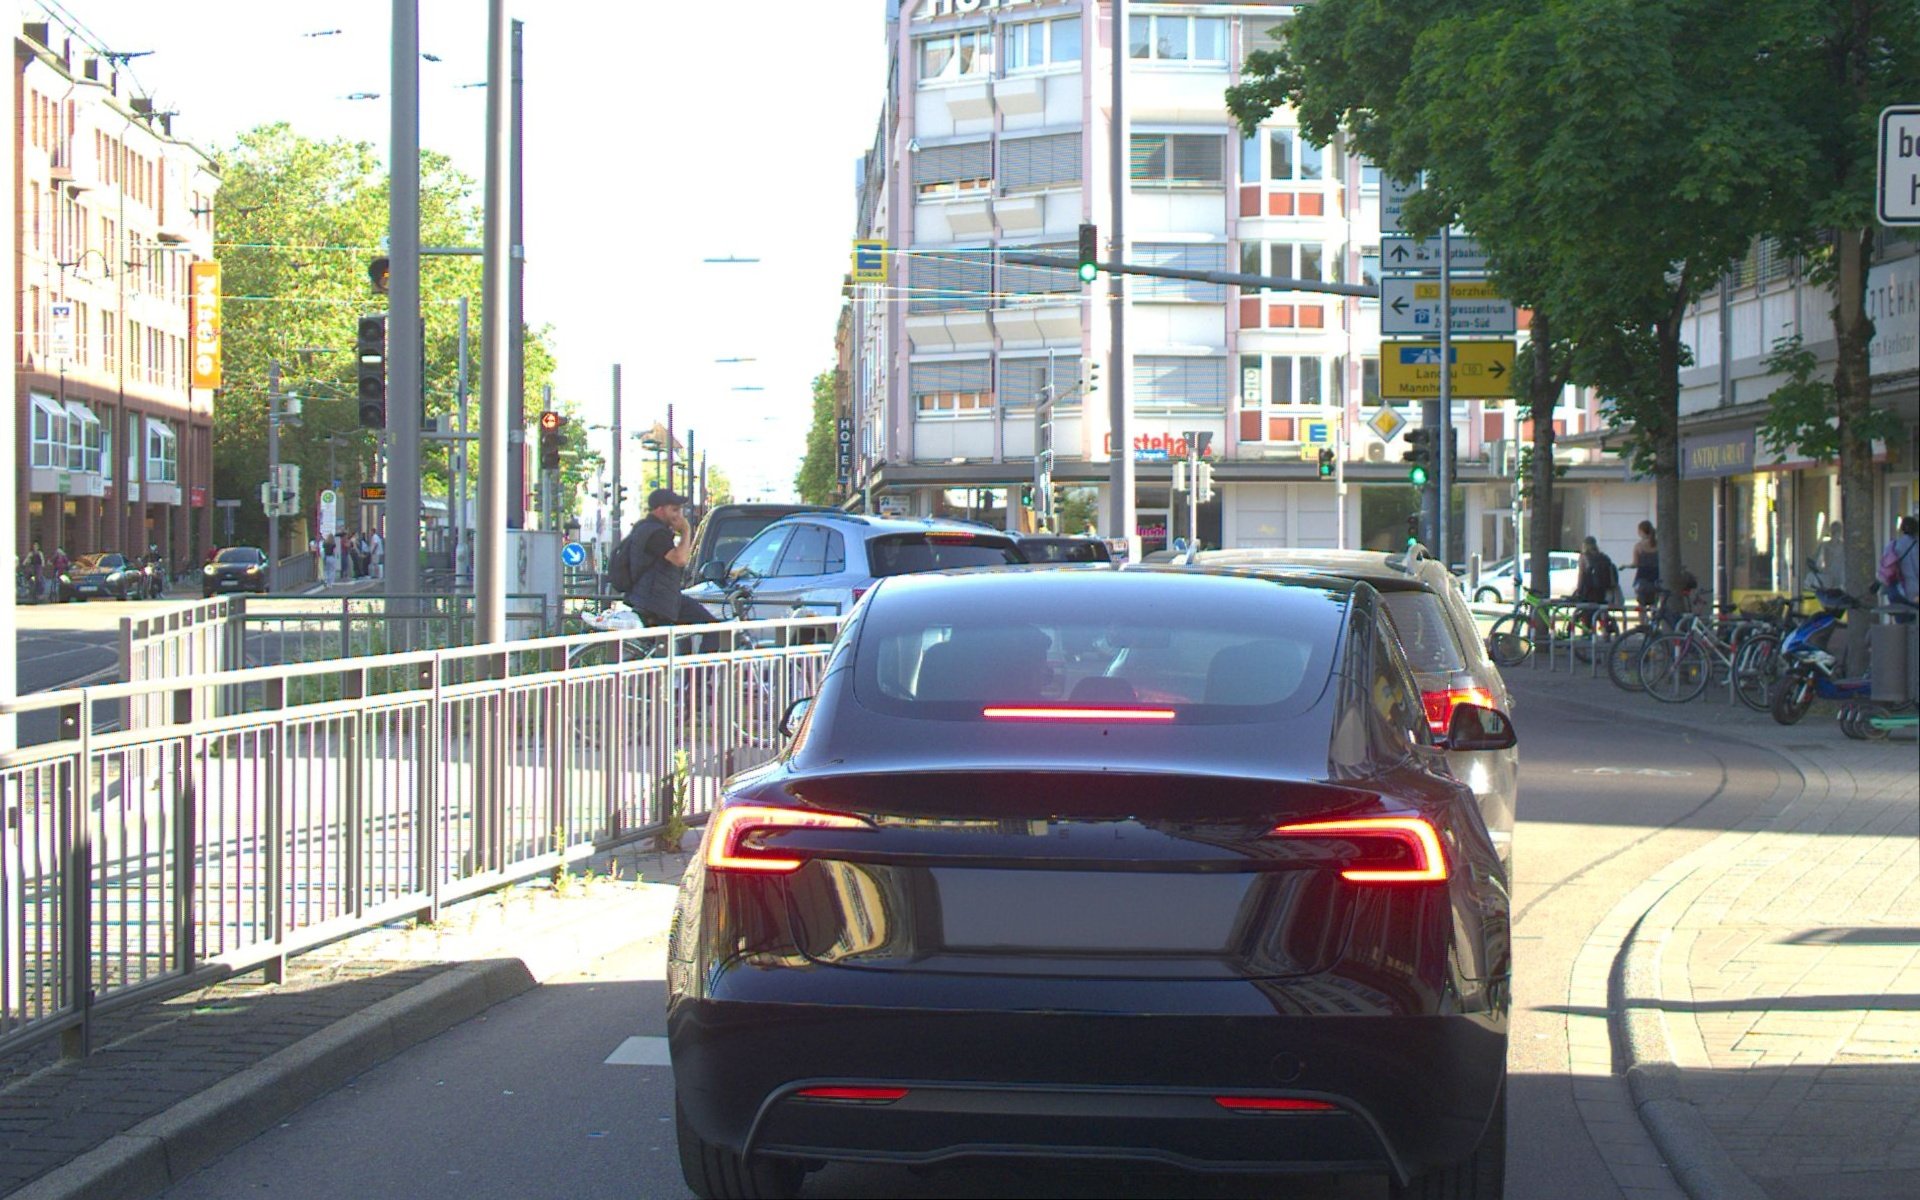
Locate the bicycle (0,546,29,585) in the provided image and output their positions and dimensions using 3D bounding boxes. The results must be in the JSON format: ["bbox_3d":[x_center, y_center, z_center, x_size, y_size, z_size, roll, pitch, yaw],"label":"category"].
[{"bbox_3d":[-27.059,-0.970,97.615,0.529,1.085,2.284,3,0,1],"label":"bicycle"}]

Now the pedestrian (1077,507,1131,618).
[{"bbox_3d":[2.641,-0.684,63.067,0.921,2.007,0.972,1,0,-1],"label":"pedestrian"}]

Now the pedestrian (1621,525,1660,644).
[{"bbox_3d":[9.883,-0.226,49.930,0.526,1.704,0.403,1,0,10],"label":"pedestrian"}]

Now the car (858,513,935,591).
[{"bbox_3d":[-1.446,-1.098,79.313,1.719,1.745,3.754,1,1,-1],"label":"car"}]

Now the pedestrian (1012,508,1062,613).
[{"bbox_3d":[1.492,-0.771,66.941,0.921,2.007,0.972,1,0,-1],"label":"pedestrian"}]

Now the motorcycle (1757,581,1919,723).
[{"bbox_3d":[7.713,0.442,29.267,1.707,1.169,0.541,1,0,-2],"label":"motorcycle"}]

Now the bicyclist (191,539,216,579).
[{"bbox_3d":[-29.552,-1.603,134.383,0.784,1.558,0.746,1,0,2],"label":"bicyclist"}]

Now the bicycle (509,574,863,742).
[{"bbox_3d":[-1.767,0.367,22.469,2.329,1.050,0.631,0,1,-38],"label":"bicycle"}]

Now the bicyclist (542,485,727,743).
[{"bbox_3d":[-2.108,0.083,22.206,0.758,1.623,0.978,0,1,-39],"label":"bicyclist"}]

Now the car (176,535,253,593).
[{"bbox_3d":[-22.991,-1.102,106.129,1.697,1.725,3.707,1,1,-3],"label":"car"}]

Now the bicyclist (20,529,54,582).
[{"bbox_3d":[-27.150,-1.318,101.111,0.784,1.558,0.746,0,1,2],"label":"bicyclist"}]

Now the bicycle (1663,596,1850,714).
[{"bbox_3d":[7.286,0.503,31.452,1.649,1.057,0.350,1,0,-10],"label":"bicycle"}]

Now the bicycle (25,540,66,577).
[{"bbox_3d":[-27.040,-1.227,101.678,0.529,1.085,2.284,1,1,1],"label":"bicycle"}]

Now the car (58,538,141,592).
[{"bbox_3d":[-24.919,-1.015,99.689,1.710,1.521,4.037,1,1,-5],"label":"car"}]

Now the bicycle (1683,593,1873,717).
[{"bbox_3d":[7.383,0.495,31.031,1.649,1.095,0.350,1,0,-10],"label":"bicycle"}]

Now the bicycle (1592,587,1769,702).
[{"bbox_3d":[6.999,0.432,33.403,1.649,1.095,0.350,1,0,-10],"label":"bicycle"}]

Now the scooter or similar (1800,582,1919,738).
[{"bbox_3d":[7.557,0.471,27.192,1.644,1.211,0.644,1,0,30],"label":"scooter or similar"}]

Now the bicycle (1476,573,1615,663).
[{"bbox_3d":[7.231,0.220,42.483,1.650,1.095,0.350,1,0,1],"label":"bicycle"}]

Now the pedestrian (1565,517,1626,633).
[{"bbox_3d":[9.181,-0.359,49.699,0.699,1.656,0.777,1,0,-1],"label":"pedestrian"}]

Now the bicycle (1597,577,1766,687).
[{"bbox_3d":[7.418,0.325,35.351,1.650,1.095,0.350,1,0,1],"label":"bicycle"}]

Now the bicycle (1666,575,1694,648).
[{"bbox_3d":[10.368,0.158,49.527,0.332,1.030,1.256,1,0,10],"label":"bicycle"}]

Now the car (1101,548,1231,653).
[{"bbox_3d":[3.295,-0.015,55.538,1.820,1.609,3.827,1,1,0],"label":"car"}]

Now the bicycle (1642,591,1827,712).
[{"bbox_3d":[7.181,0.475,31.876,1.649,1.095,0.350,1,0,-10],"label":"bicycle"}]

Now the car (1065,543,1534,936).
[{"bbox_3d":[1.485,0.492,15.016,1.751,1.449,3.999,1,1,6],"label":"car"}]

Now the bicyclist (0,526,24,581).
[{"bbox_3d":[-27.078,-1.310,97.618,0.784,1.558,0.746,0,1,2],"label":"bicyclist"}]

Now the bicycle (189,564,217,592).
[{"bbox_3d":[-29.568,-0.856,134.262,0.529,1.085,2.224,1,1,1],"label":"bicycle"}]

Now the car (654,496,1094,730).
[{"bbox_3d":[-0.762,0.068,26.552,1.883,1.656,4.159,1,1,-25],"label":"car"}]

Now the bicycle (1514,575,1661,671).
[{"bbox_3d":[7.361,0.268,40.344,1.650,1.095,0.350,1,0,1],"label":"bicycle"}]

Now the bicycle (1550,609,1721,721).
[{"bbox_3d":[6.746,0.648,34.323,1.649,1.095,0.350,1,0,-10],"label":"bicycle"}]

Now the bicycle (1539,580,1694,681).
[{"bbox_3d":[7.309,0.341,38.304,1.650,1.095,0.350,1,0,1],"label":"bicycle"}]

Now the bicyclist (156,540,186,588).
[{"bbox_3d":[-25.252,-1.153,110.078,0.785,1.522,0.589,1,0,4],"label":"bicyclist"}]

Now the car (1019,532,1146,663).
[{"bbox_3d":[1.699,-0.056,48.823,1.598,1.772,3.981,1,1,-1],"label":"car"}]

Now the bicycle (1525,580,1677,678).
[{"bbox_3d":[7.329,0.328,39.331,1.650,1.095,0.350,1,0,1],"label":"bicycle"}]

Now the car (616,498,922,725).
[{"bbox_3d":[-1.885,0.076,32.611,1.993,2.007,4.001,0,1,-17],"label":"car"}]

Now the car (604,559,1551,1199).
[{"bbox_3d":[0.371,0.639,8.695,1.829,1.450,3.999,1,1,4],"label":"car"}]

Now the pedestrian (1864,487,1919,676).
[{"bbox_3d":[10.114,-0.197,36.877,0.662,2.007,0.579,1,0,2],"label":"pedestrian"}]

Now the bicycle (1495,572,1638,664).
[{"bbox_3d":[7.298,0.211,41.389,1.650,1.095,0.350,0,1,1],"label":"bicycle"}]
